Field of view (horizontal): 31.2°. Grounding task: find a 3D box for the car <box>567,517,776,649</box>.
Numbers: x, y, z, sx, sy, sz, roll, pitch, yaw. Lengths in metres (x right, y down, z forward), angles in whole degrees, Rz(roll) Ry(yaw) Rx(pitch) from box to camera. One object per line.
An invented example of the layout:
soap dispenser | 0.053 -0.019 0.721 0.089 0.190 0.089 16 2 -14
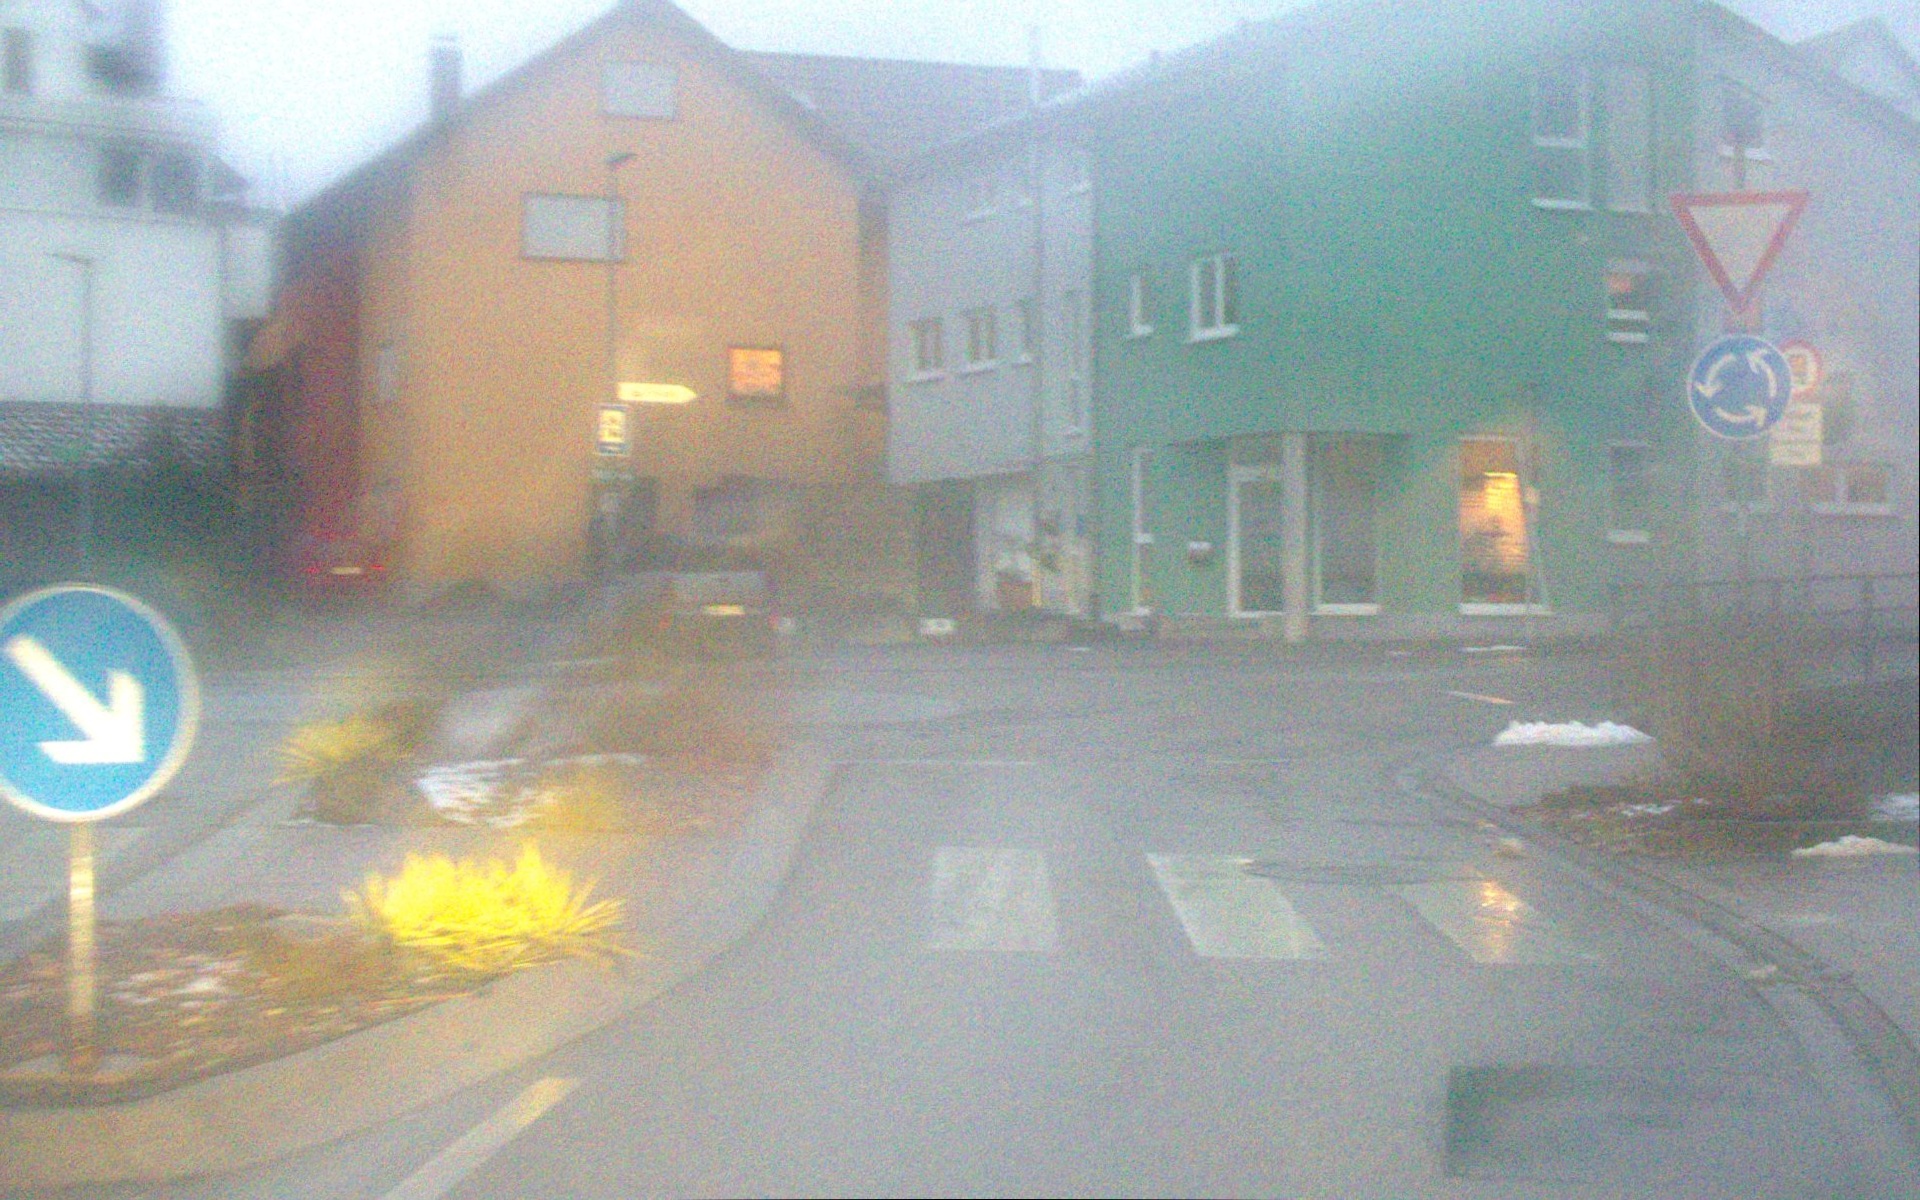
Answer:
car | -3.874 -0.261 45.523 1.993 1.638 4.002 0 2 -16

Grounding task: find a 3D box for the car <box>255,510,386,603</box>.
car | -11.947 -0.830 64.069 1.993 1.638 4.002 0 2 -16
